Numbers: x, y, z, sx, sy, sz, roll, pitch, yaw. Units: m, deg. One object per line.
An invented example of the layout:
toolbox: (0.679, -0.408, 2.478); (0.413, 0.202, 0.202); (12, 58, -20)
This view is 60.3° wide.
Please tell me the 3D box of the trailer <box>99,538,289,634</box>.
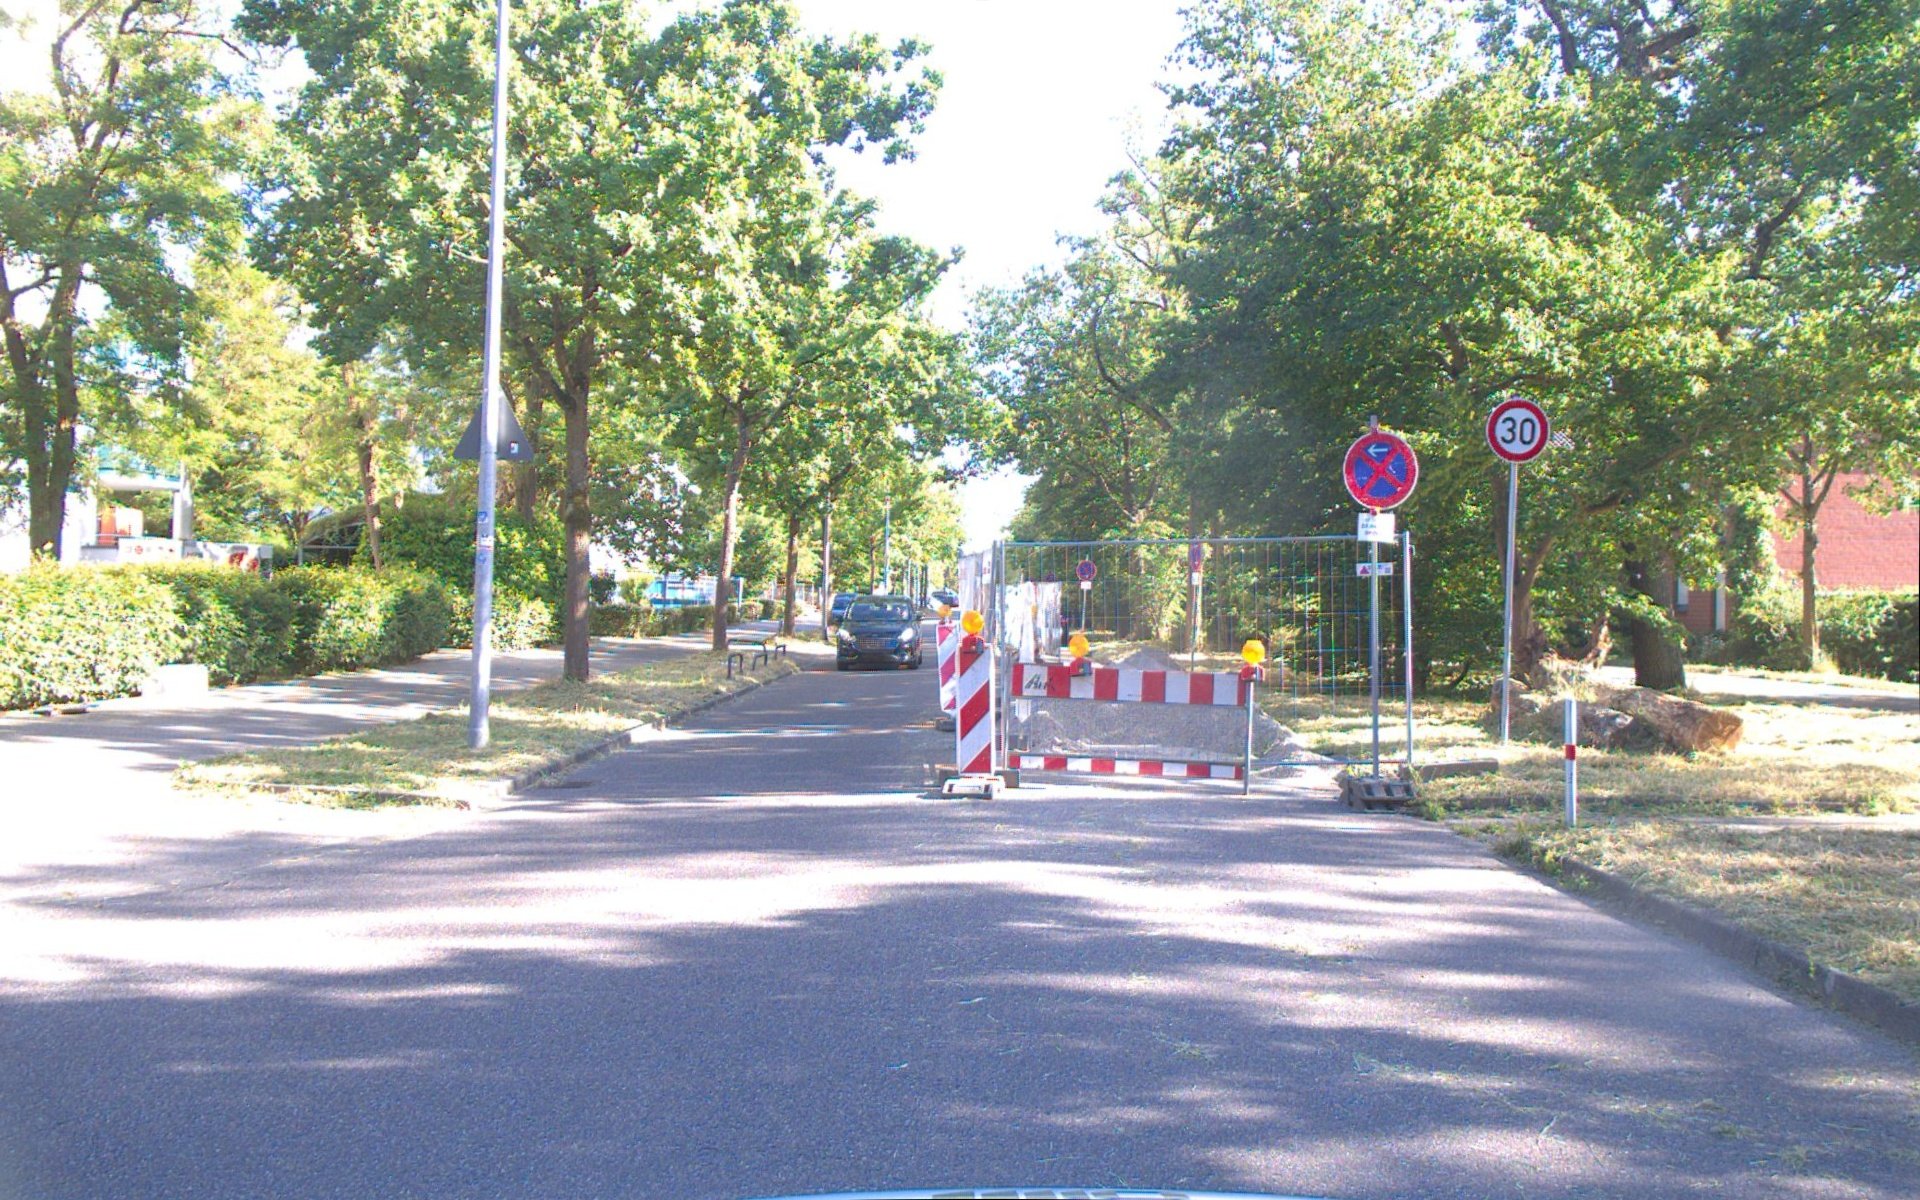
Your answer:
trailer: (-17.753, -0.304, 38.585); (1.934, 2.078, 4.433); (1, 0, 7)
